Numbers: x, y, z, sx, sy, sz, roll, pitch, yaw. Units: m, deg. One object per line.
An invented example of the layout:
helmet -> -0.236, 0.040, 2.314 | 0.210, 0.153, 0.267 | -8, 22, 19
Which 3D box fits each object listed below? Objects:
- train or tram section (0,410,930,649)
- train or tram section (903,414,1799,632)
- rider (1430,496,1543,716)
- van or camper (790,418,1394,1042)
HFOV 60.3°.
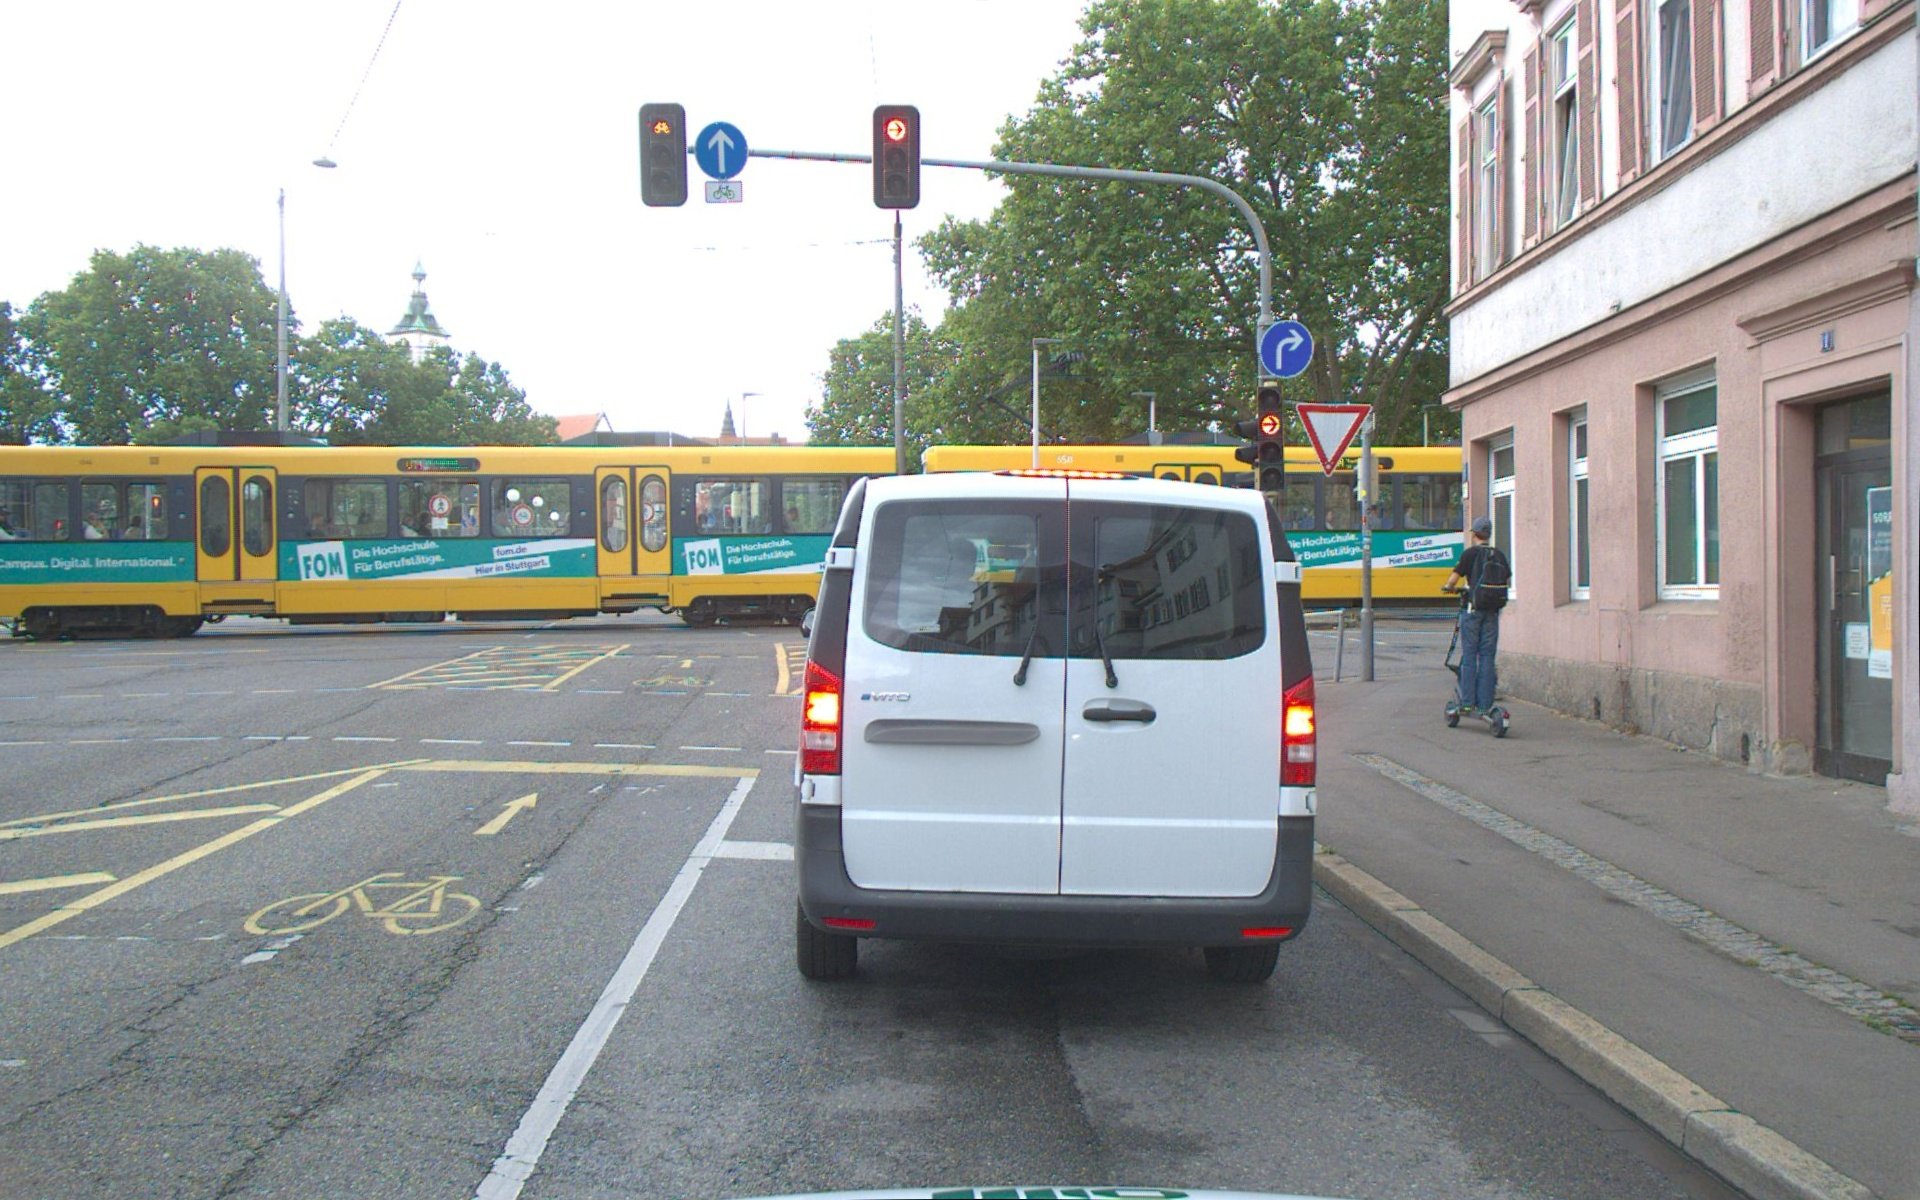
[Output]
train or tram section -> -10.174, -1.457, 32.004 | 18.882, 4.072, 3.301 | -2, 3, -11
train or tram section -> 8.133, -1.709, 34.879 | 18.413, 4.072, 3.261 | -1, 3, -7
rider -> 4.654, 0.050, 14.665 | 0.703, 1.880, 0.797 | -1, 0, -1
van or camper -> 0.312, 0.390, 7.469 | 1.899, 1.958, 4.438 | 1, 1, -3
